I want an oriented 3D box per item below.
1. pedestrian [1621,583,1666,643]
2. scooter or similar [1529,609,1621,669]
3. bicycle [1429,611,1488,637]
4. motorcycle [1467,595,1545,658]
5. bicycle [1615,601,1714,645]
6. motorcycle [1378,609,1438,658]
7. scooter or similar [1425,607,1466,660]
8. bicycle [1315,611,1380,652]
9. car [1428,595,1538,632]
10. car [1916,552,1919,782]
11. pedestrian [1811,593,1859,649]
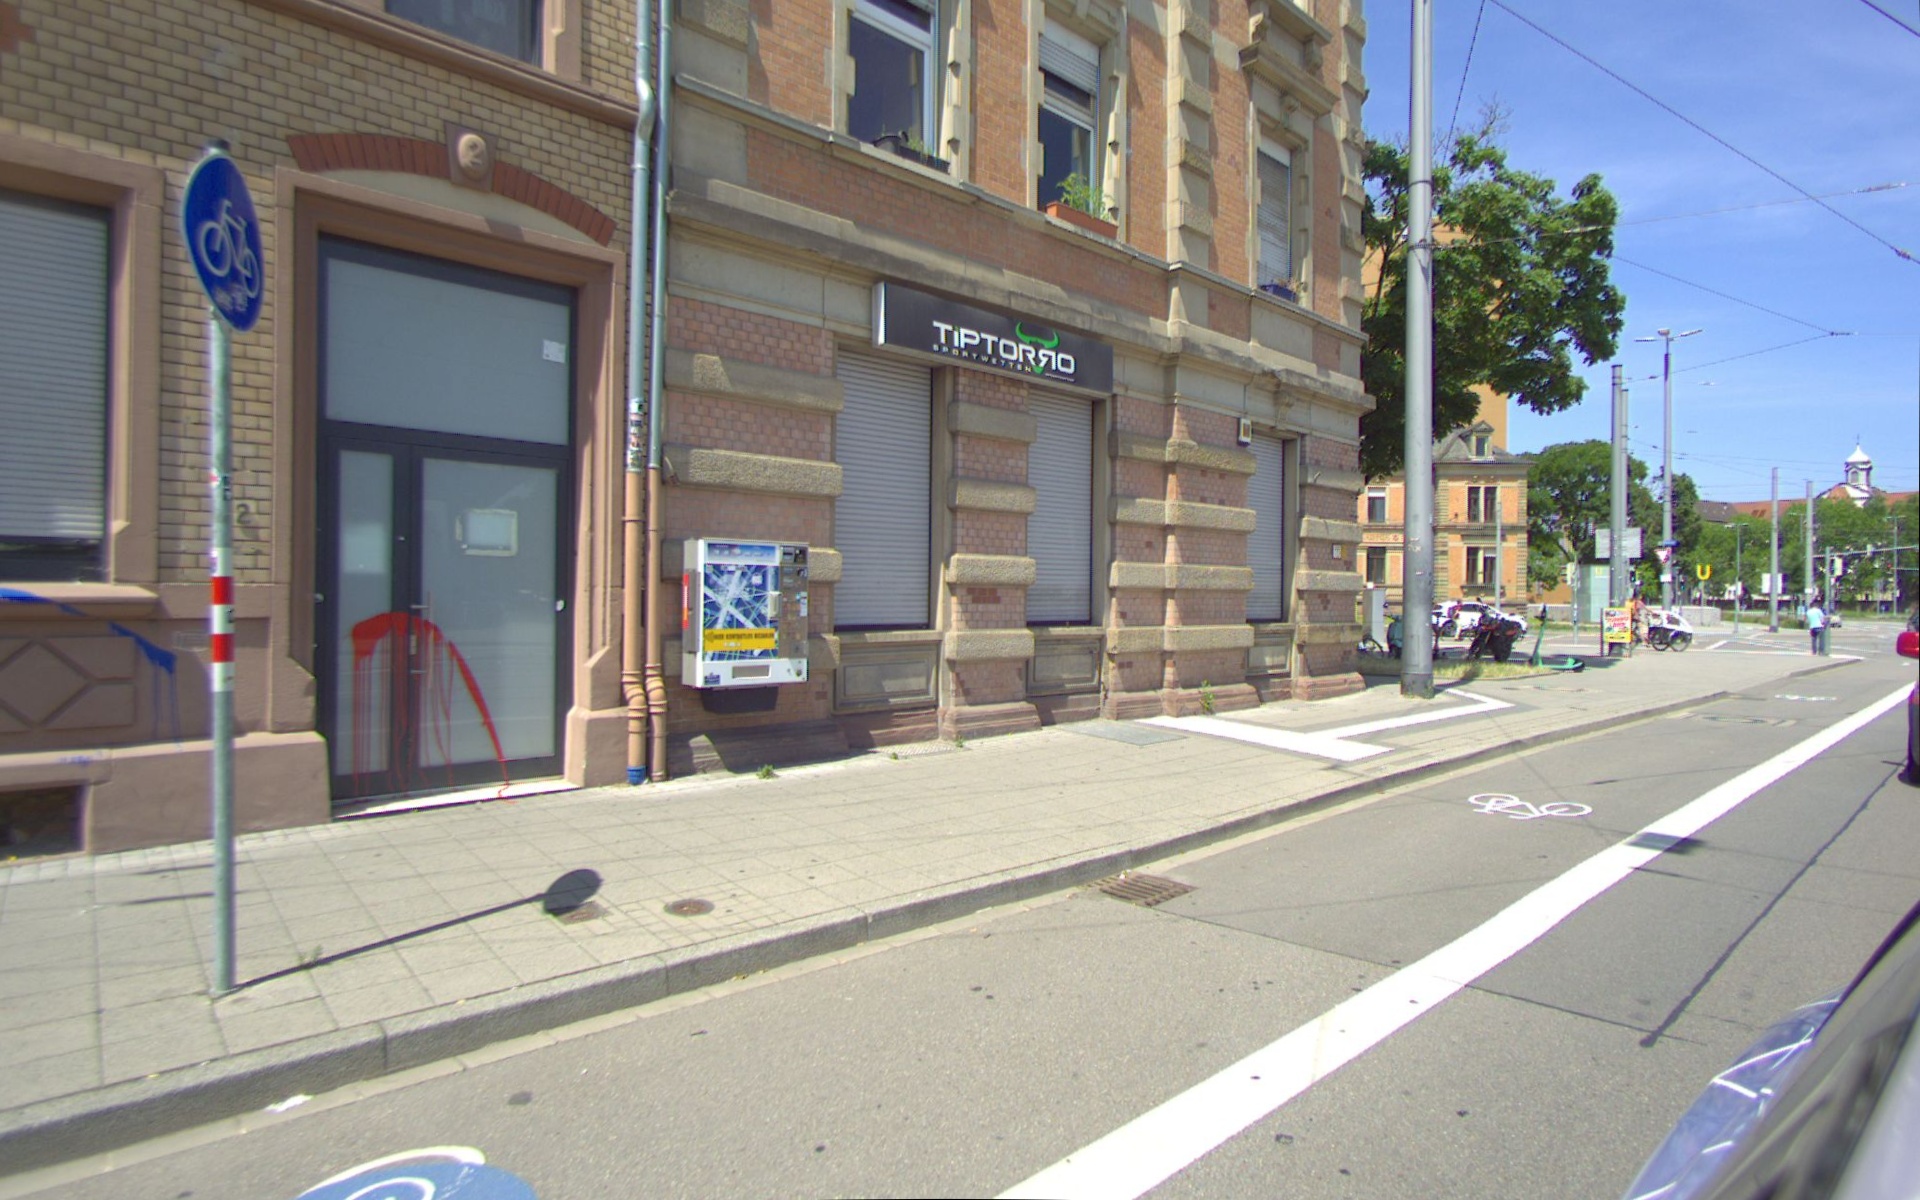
[{"bbox_3d":[20.761,0.373,30.759,0.810,1.798,0.813,0,0,5],"label":"pedestrian"},{"bbox_3d":[12.718,0.793,20.965,1.506,1.170,0.710,1,0,20],"label":"scooter or similar"},{"bbox_3d":[20.161,0.955,40.955,1.990,1.018,0.723,1,0,14],"label":"bicycle"},{"bbox_3d":[12.643,0.570,23.387,2.551,1.379,0.765,0,0,-41],"label":"motorcycle"},{"bbox_3d":[21.330,0.690,30.688,2.181,1.267,1.098,1,0,5],"label":"bicycle"},{"bbox_3d":[10.925,0.794,24.668,1.717,1.110,0.692,0,0,-41],"label":"motorcycle"},{"bbox_3d":[11.411,0.759,23.767,0.599,1.166,1.360,0,1,38],"label":"scooter or similar"},{"bbox_3d":[9.824,0.772,25.623,2.046,0.977,0.646,0,0,-41],"label":"bicycle"},{"bbox_3d":[23.882,0.611,46.336,4.109,1.625,1.703,1,0,11],"label":"car"},{"bbox_3d":[9.715,0.543,8.767,4.026,1.835,1.754,0,0,-42],"label":"car"},{"bbox_3d":[28.441,0.664,32.906,0.856,1.802,0.811,0,0,-9],"label":"pedestrian"}]
